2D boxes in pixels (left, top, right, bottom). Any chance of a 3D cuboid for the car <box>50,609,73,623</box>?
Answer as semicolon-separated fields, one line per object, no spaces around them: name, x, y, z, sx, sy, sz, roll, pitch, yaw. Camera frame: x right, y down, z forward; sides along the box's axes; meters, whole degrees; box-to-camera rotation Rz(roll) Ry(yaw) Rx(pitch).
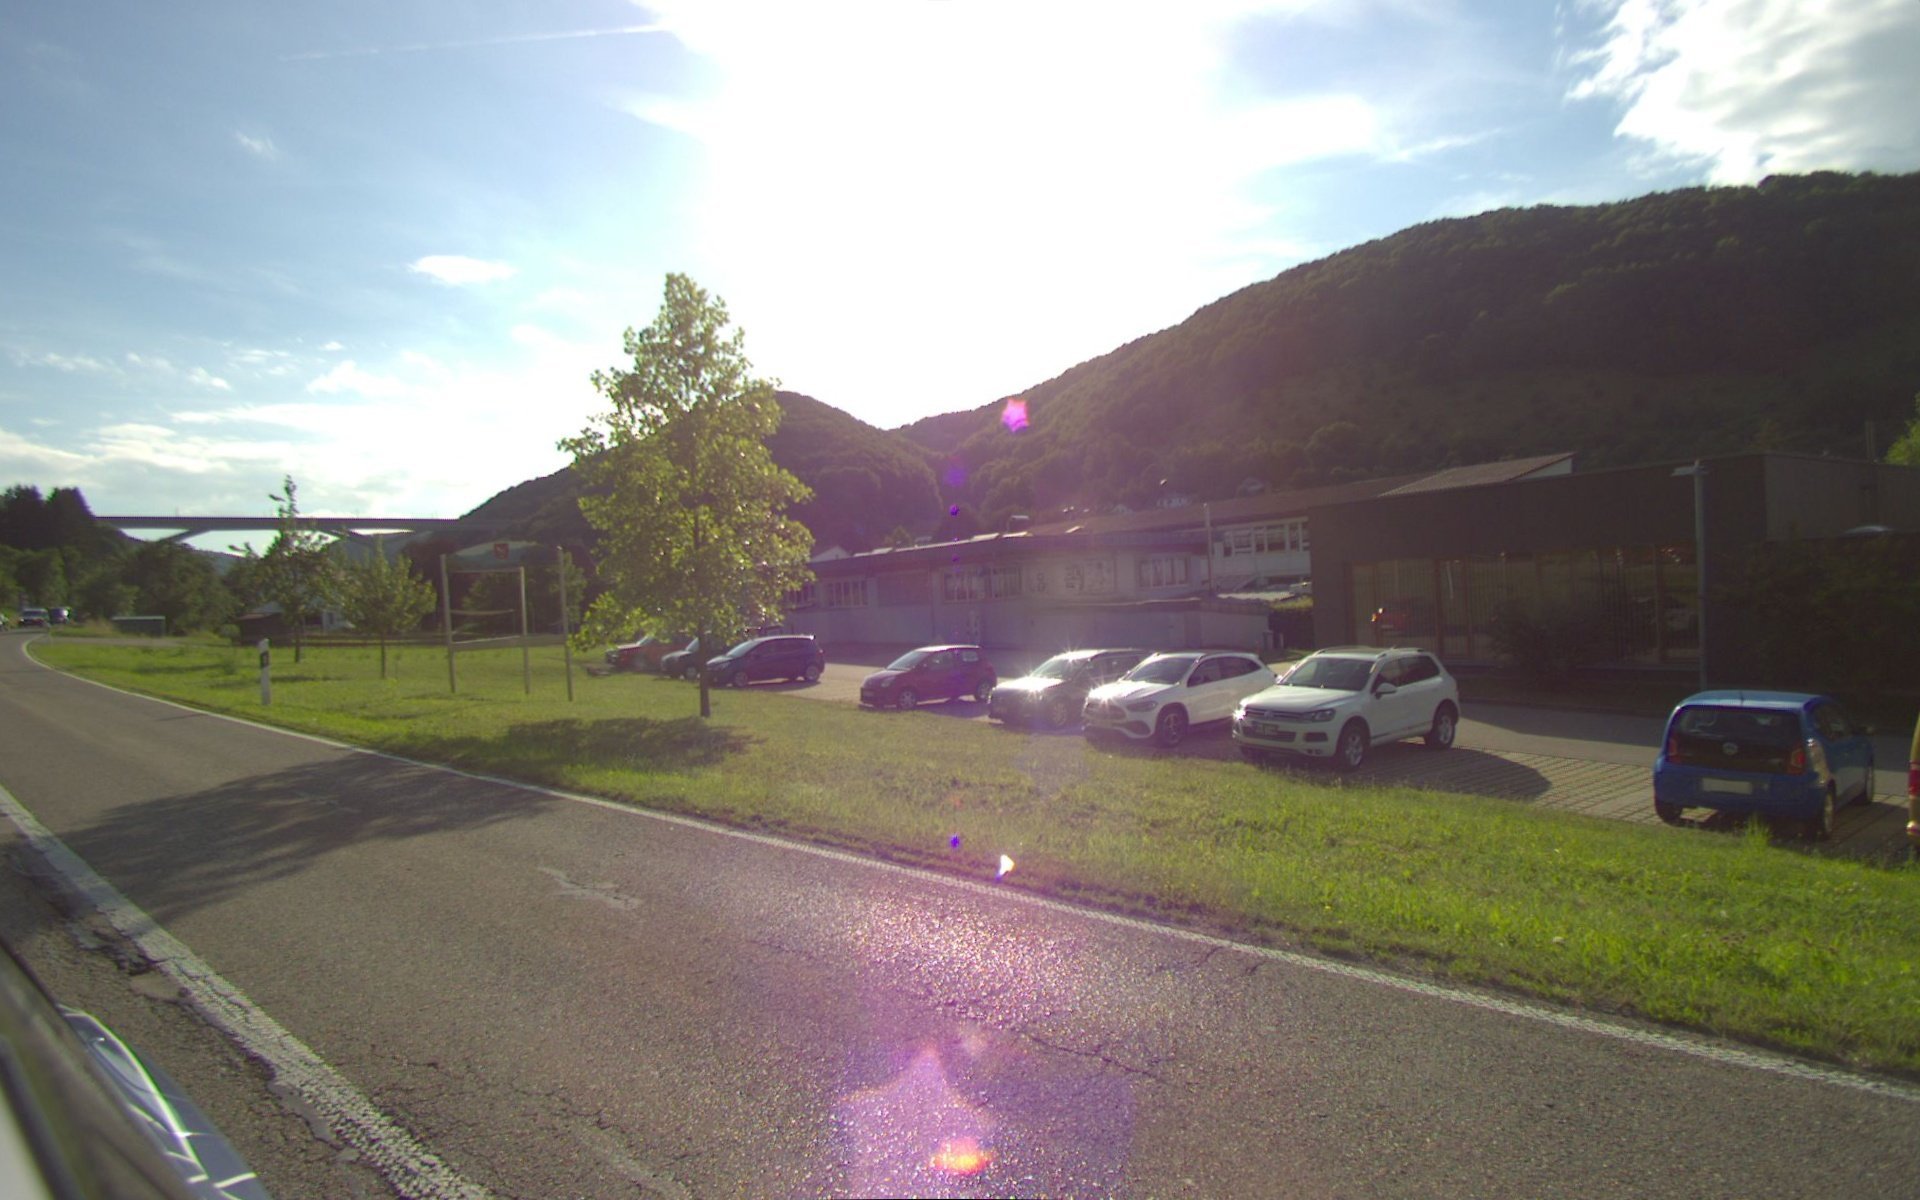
car;-97.085;1.741;109.344;1.605;1.490;3.687;-1;0;-38

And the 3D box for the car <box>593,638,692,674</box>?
car;-14.228;2.473;45.373;3.835;1.379;1.857;0;0;-37

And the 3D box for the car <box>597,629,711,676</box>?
car;-12.827;2.163;42.497;4.262;1.682;1.853;-1;0;-33

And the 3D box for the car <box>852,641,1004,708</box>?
car;-0.789;1.853;26.042;3.672;1.408;1.619;-1;0;-38

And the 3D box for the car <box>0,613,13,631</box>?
car;-79.877;1.828;83.952;1.605;1.490;3.687;-1;0;-38

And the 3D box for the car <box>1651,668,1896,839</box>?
car;9.817;1.701;12.146;3.449;1.483;1.636;-1;0;-40

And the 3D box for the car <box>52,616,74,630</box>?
car;-102.646;2.618;115.812;1.605;1.490;3.687;-1;0;-38

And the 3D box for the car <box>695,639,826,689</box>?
car;-6.666;2.119;34.043;3.957;1.463;1.687;-1;-2;-39

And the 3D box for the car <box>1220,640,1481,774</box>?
car;6.553;1.630;16.803;4.480;1.716;2.004;-1;0;-38

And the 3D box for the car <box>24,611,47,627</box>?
car;-89.962;1.836;98.454;1.606;1.490;3.683;-1;0;-43

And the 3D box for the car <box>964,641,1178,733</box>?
car;2.481;1.794;22.041;4.480;1.566;2.004;-1;0;-38

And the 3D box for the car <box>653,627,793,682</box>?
car;-8.959;2.021;38.473;4.928;1.807;1.688;-1;0;-40

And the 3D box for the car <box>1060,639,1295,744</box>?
car;4.257;1.653;19.505;4.480;1.566;2.004;-1;0;-38

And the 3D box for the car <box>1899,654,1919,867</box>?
car;11.003;1.428;9.666;4.548;1.882;2.005;-1;0;-34
